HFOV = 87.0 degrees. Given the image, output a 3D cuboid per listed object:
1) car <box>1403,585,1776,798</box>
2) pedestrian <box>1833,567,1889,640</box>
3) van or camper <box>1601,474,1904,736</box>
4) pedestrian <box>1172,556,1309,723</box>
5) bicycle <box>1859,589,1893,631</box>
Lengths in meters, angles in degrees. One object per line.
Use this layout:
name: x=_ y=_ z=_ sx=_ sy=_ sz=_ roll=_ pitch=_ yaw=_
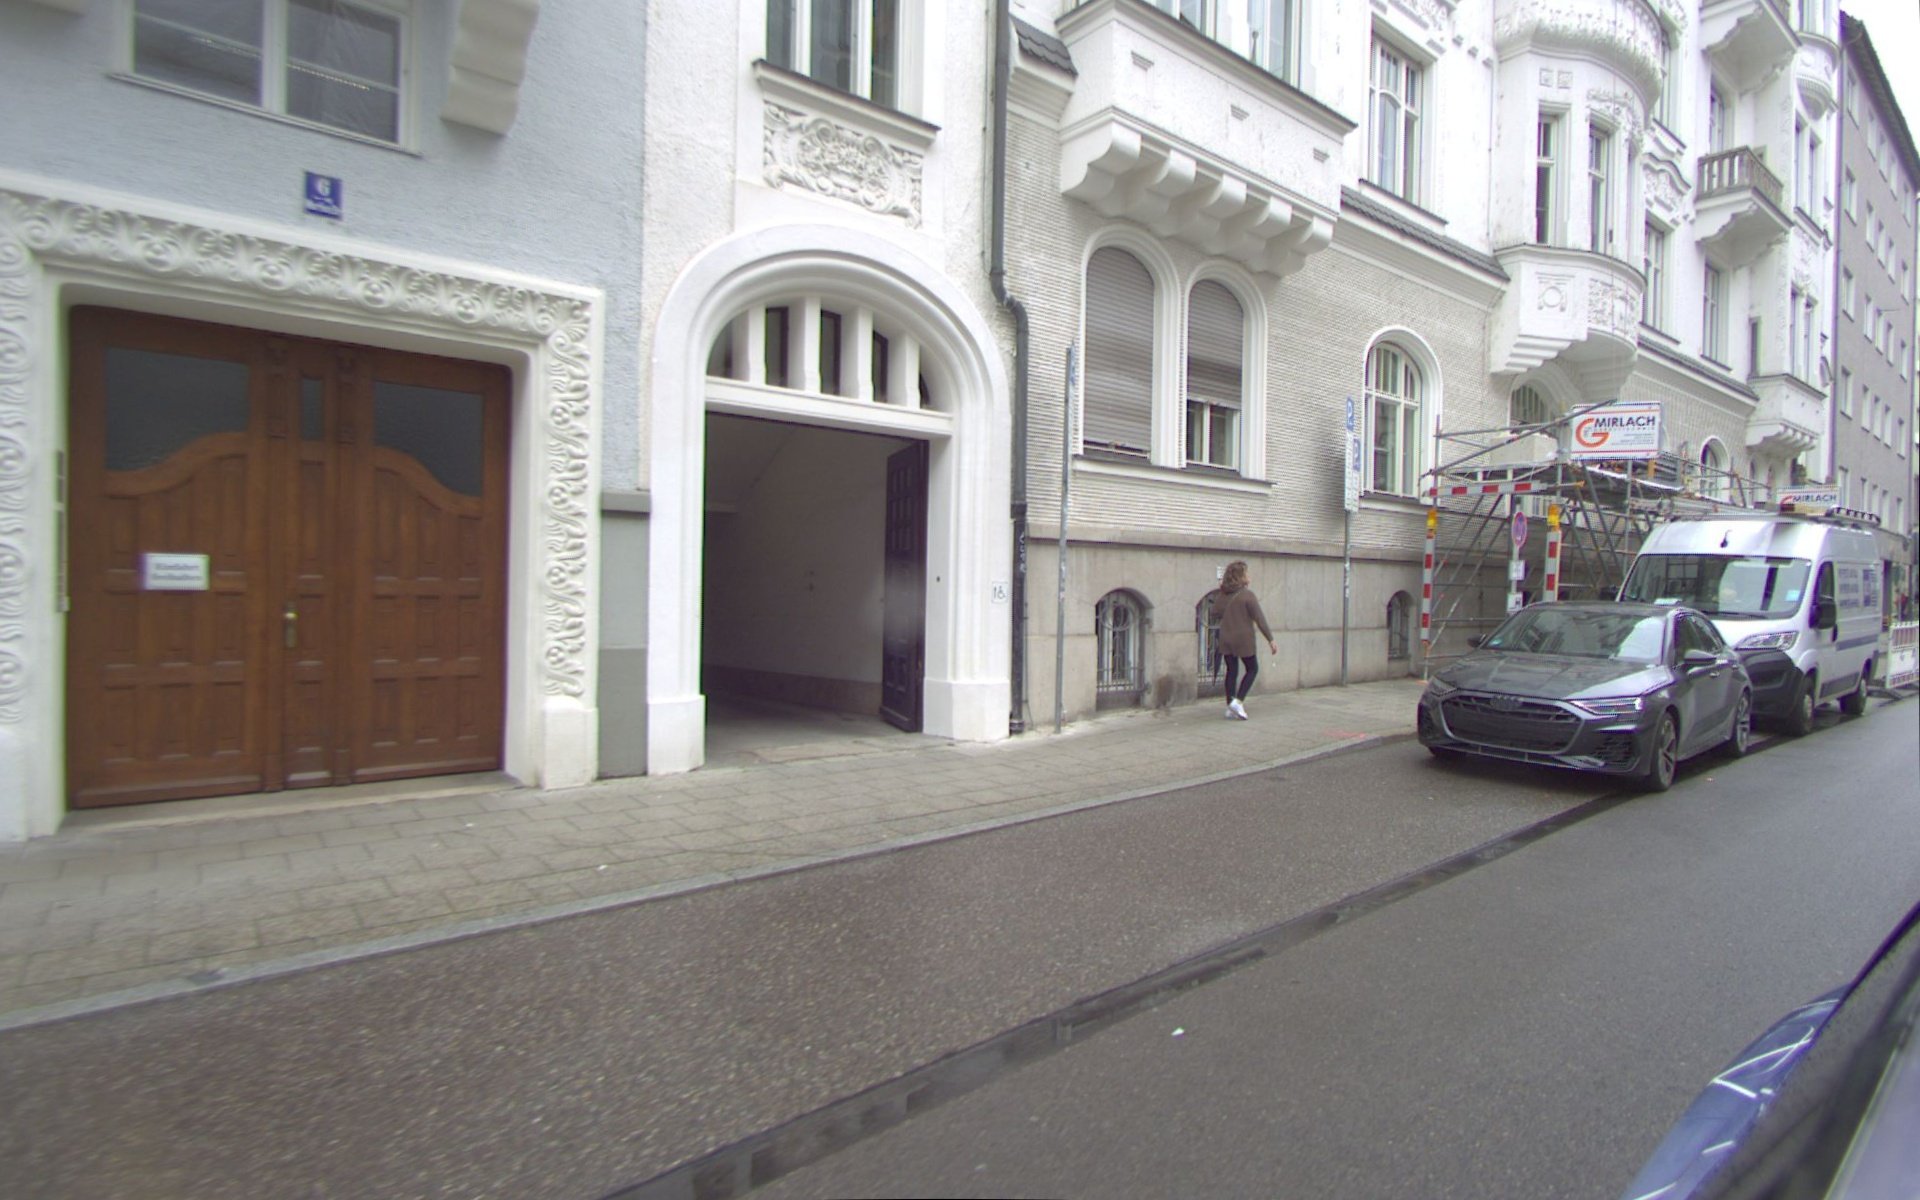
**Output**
car: x=5.759 y=0.618 z=9.057 sx=4.016 sy=1.452 sz=1.757 roll=0 pitch=2 yaw=-42
pedestrian: x=25.015 y=0.090 z=28.090 sx=1.158 sy=1.933 sz=0.929 roll=0 pitch=3 yaw=-41
van or camper: x=10.182 y=0.007 z=12.816 sx=5.362 sy=2.669 sz=1.958 roll=0 pitch=1 yaw=-40
pedestrian: x=2.869 y=0.355 z=10.379 sx=0.999 sy=1.573 sz=0.922 roll=-2 pitch=4 yaw=-40
bicycle: x=29.273 y=0.309 z=32.337 sx=1.788 sy=1.275 sz=0.513 roll=0 pitch=5 yaw=-41
